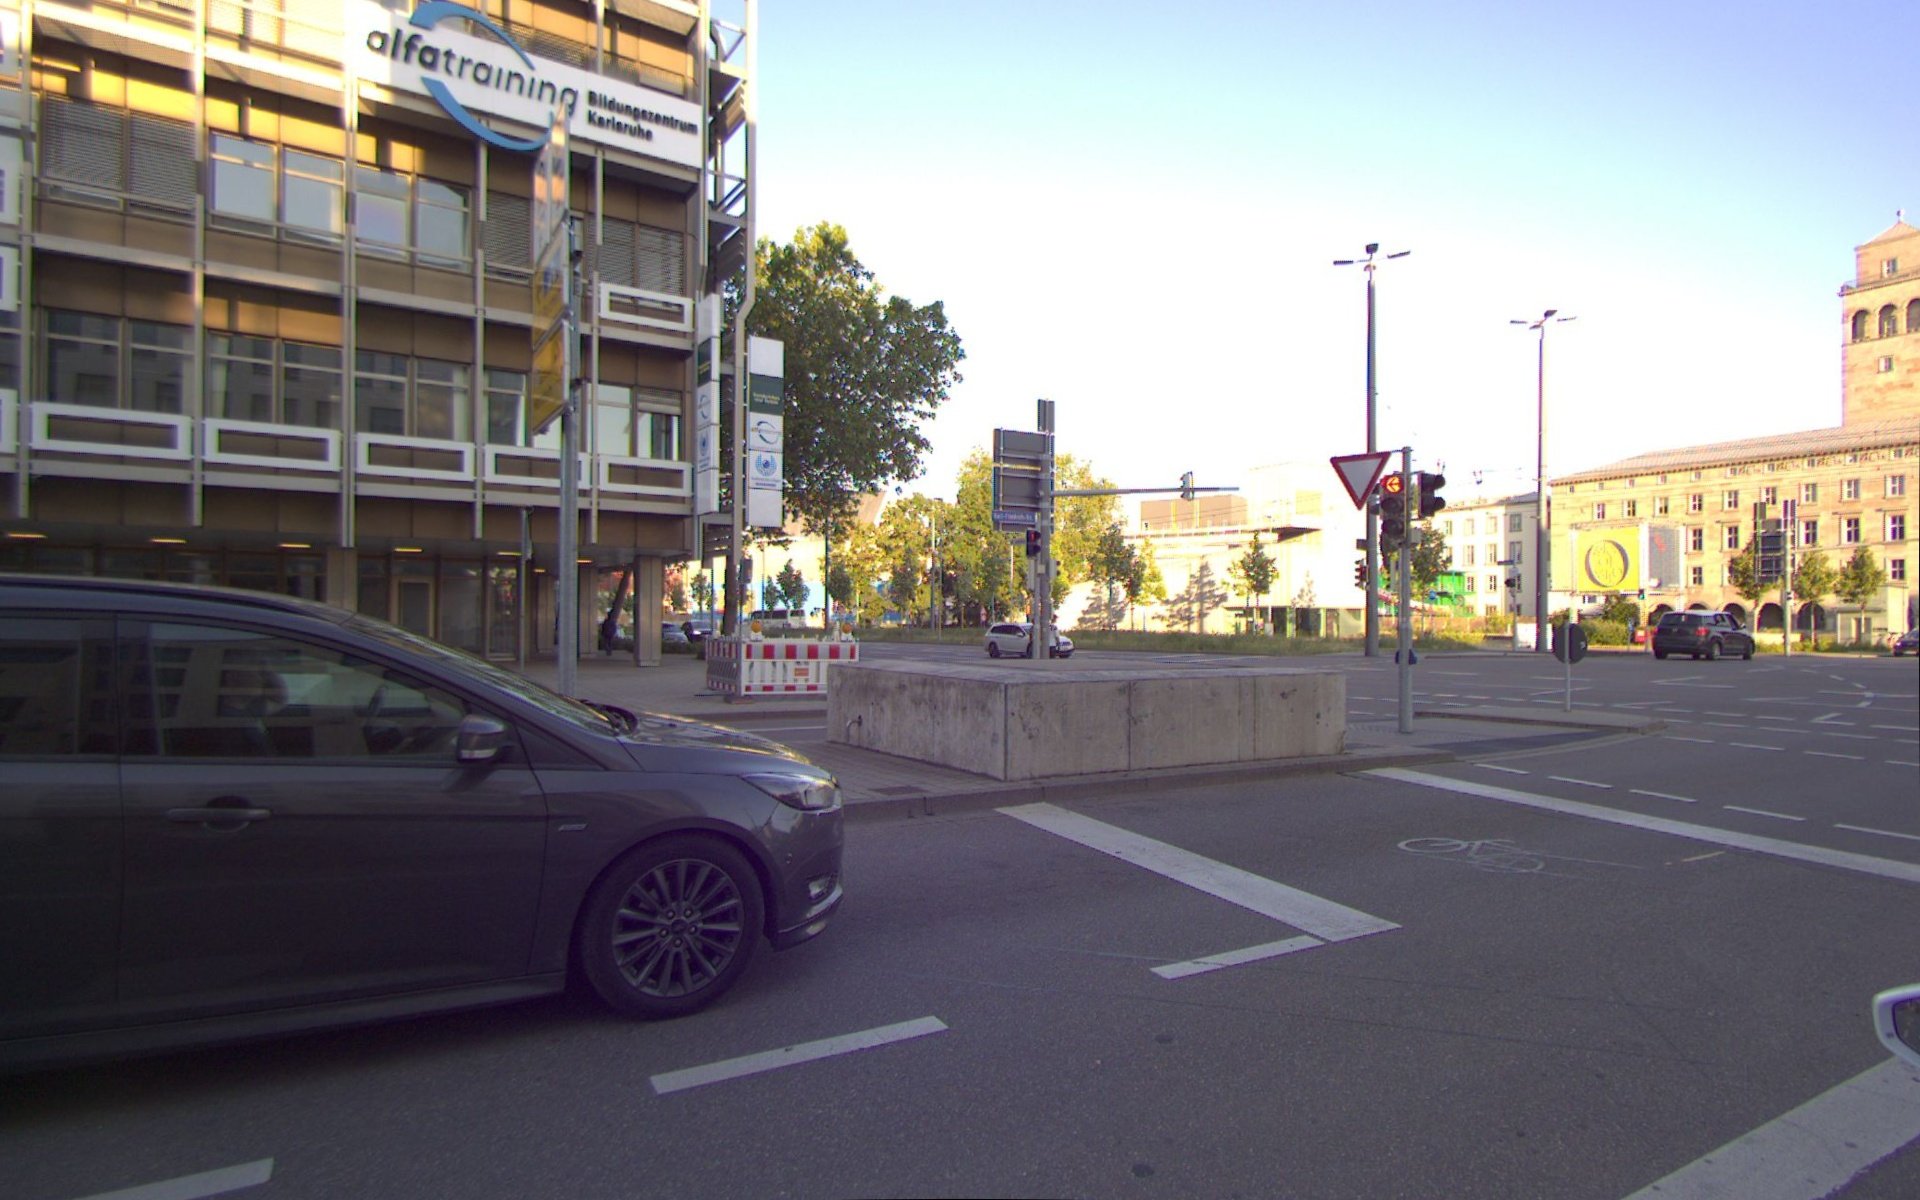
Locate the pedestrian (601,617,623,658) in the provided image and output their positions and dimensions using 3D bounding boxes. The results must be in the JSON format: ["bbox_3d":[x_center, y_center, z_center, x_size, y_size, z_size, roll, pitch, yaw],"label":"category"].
[{"bbox_3d":[-13.936,1.492,40.223,0.660,1.606,0.715,2,0,-34],"label":"pedestrian"}]

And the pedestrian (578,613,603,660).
[{"bbox_3d":[-14.724,1.451,40.038,0.749,1.830,0.715,2,0,-35],"label":"pedestrian"}]

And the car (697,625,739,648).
[{"bbox_3d":[-16.802,2.510,69.676,1.829,1.476,3.921,0,-1,-30],"label":"car"}]

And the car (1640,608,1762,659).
[{"bbox_3d":[24.947,1.097,33.812,4.082,1.626,1.732,1,-1,-28],"label":"car"}]

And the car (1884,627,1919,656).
[{"bbox_3d":[51.245,2.195,53.615,4.111,1.485,1.813,0,-1,-32],"label":"car"}]

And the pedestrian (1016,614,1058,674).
[{"bbox_3d":[2.265,1.277,29.633,0.949,1.744,0.816,1,-1,-34],"label":"pedestrian"}]

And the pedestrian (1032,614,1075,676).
[{"bbox_3d":[2.688,1.286,28.853,0.949,1.744,0.816,1,-1,-34],"label":"pedestrian"}]

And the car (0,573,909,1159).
[{"bbox_3d":[-2.496,0.666,3.506,4.330,1.482,1.748,1,0,-31],"label":"car"}]

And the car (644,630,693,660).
[{"bbox_3d":[-17.172,2.611,59.044,1.722,1.605,4.554,0,-1,-30],"label":"car"}]

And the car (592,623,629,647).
[{"bbox_3d":[-24.364,2.395,69.937,1.722,1.605,3.764,0,-1,-31],"label":"car"}]

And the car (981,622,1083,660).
[{"bbox_3d":[2.949,1.665,41.898,1.832,1.476,4.548,0,-1,-34],"label":"car"}]

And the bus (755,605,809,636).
[{"bbox_3d":[-23.138,2.676,130.214,2.959,3.818,10.341,1,-1,-34],"label":"bus"}]
